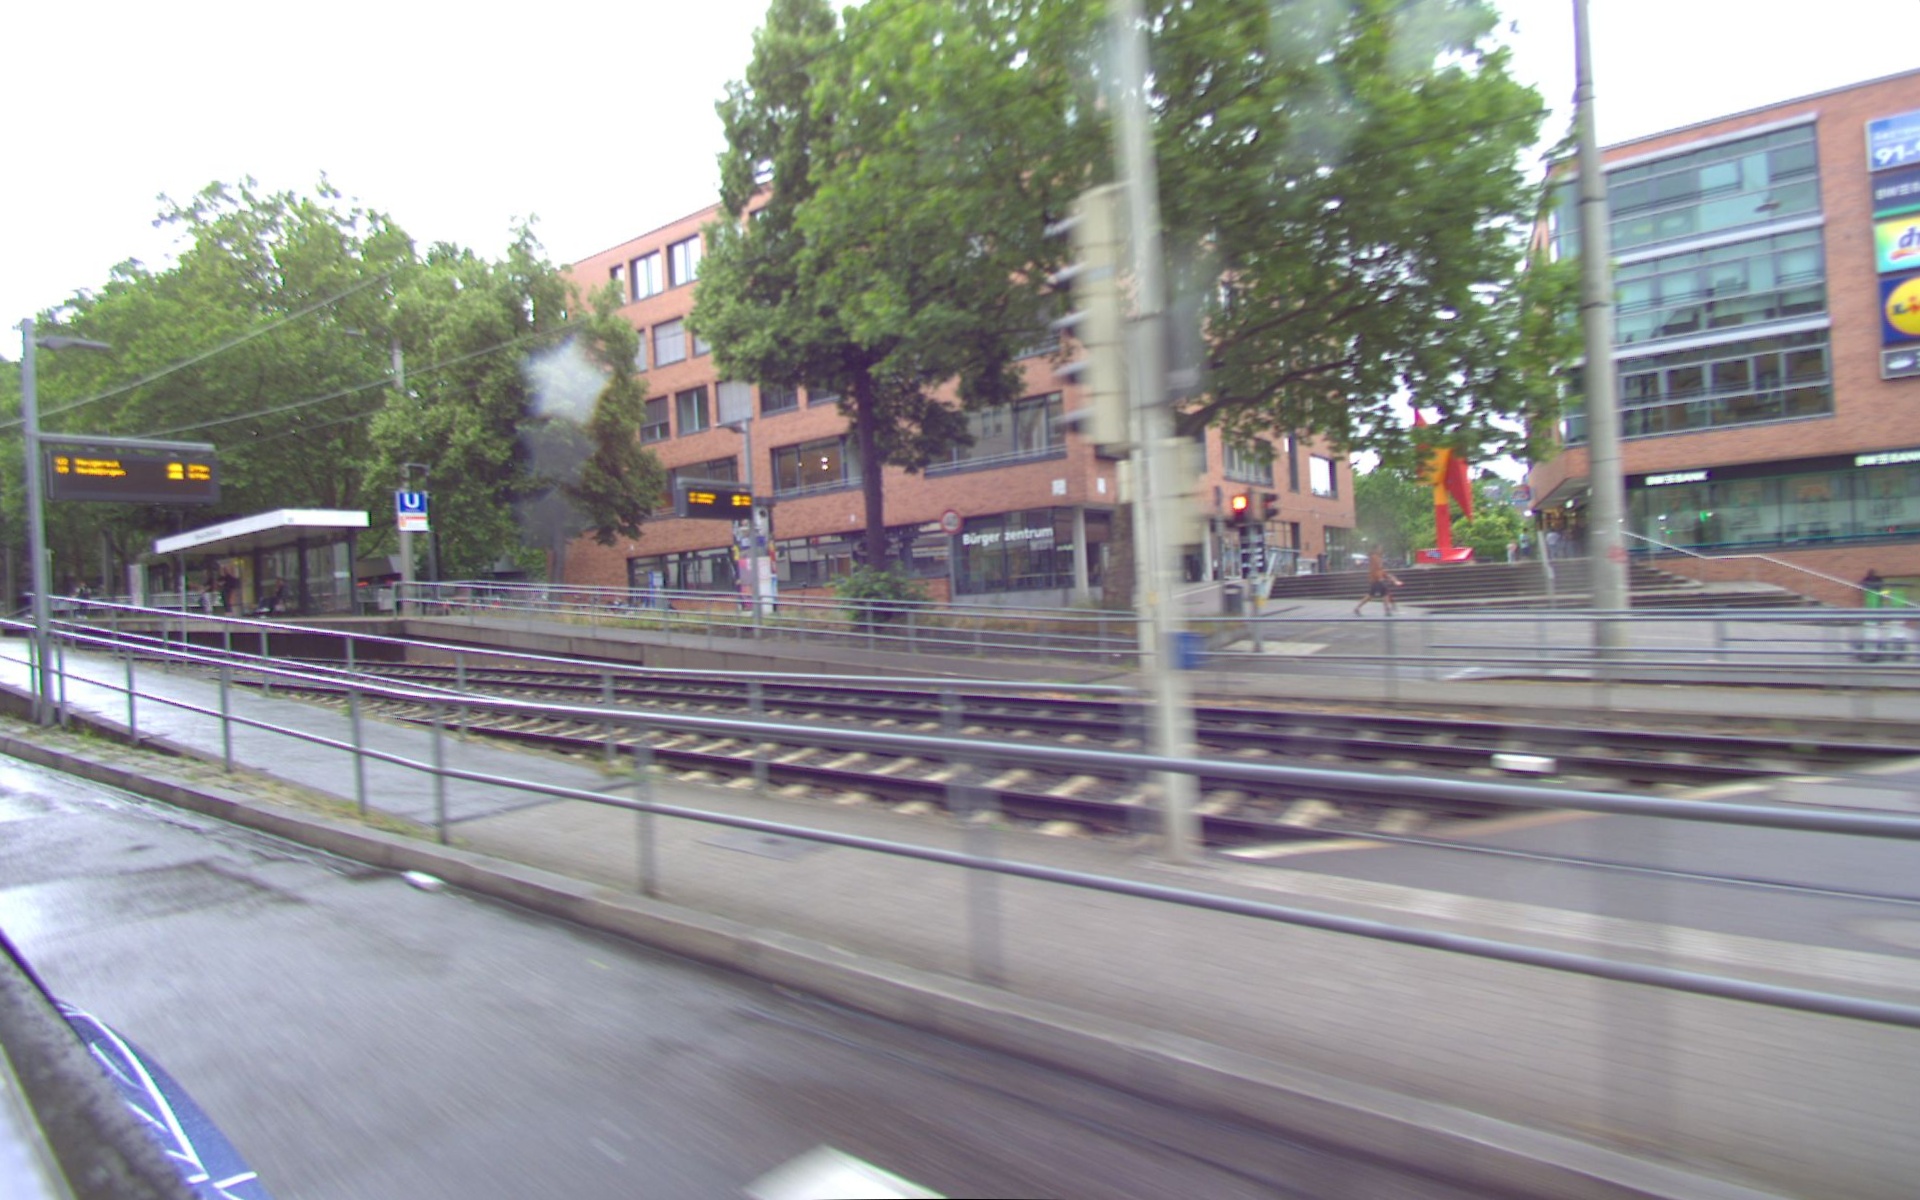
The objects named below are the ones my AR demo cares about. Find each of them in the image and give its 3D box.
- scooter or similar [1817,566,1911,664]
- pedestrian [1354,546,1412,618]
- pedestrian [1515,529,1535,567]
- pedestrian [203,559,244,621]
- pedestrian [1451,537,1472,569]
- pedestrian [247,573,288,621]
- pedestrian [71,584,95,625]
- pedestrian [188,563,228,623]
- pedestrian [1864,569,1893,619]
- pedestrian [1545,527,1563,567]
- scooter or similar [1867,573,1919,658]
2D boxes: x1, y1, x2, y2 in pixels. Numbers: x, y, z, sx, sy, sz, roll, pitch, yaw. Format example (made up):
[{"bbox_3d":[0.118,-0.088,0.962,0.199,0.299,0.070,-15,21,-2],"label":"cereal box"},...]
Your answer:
[{"bbox_3d":[13.386,0.196,15.027,0.449,1.381,1.497,-2,1,18],"label":"scooter or similar"},{"bbox_3d":[10.648,-0.470,25.519,0.779,1.757,1.073,-1,4,-21],"label":"pedestrian"},{"bbox_3d":[26.817,-2.472,48.028,0.724,1.743,0.643,-1,0,23],"label":"pedestrian"},{"bbox_3d":[-25.126,-0.342,34.522,0.881,2.078,0.828,-1,0,32],"label":"pedestrian"},{"bbox_3d":[25.427,-2.370,51.342,0.615,1.562,0.719,-1,0,-18],"label":"pedestrian"},{"bbox_3d":[-22.205,-0.102,32.434,0.881,1.494,0.773,-1,0,32],"label":"pedestrian"},{"bbox_3d":[-39.197,0.202,45.206,0.702,1.804,0.669,-1,0,36],"label":"pedestrian"},{"bbox_3d":[-26.184,-0.241,35.249,0.881,2.078,0.828,-1,0,32],"label":"pedestrian"},{"bbox_3d":[29.268,-0.199,32.248,0.590,1.578,0.514,-1,1,34],"label":"pedestrian"},{"bbox_3d":[26.915,-2.400,45.845,0.645,1.743,0.613,-1,0,28],"label":"pedestrian"},{"bbox_3d":[13.898,0.213,14.581,0.474,1.203,1.710,-1,0,14],"label":"scooter or similar"}]
